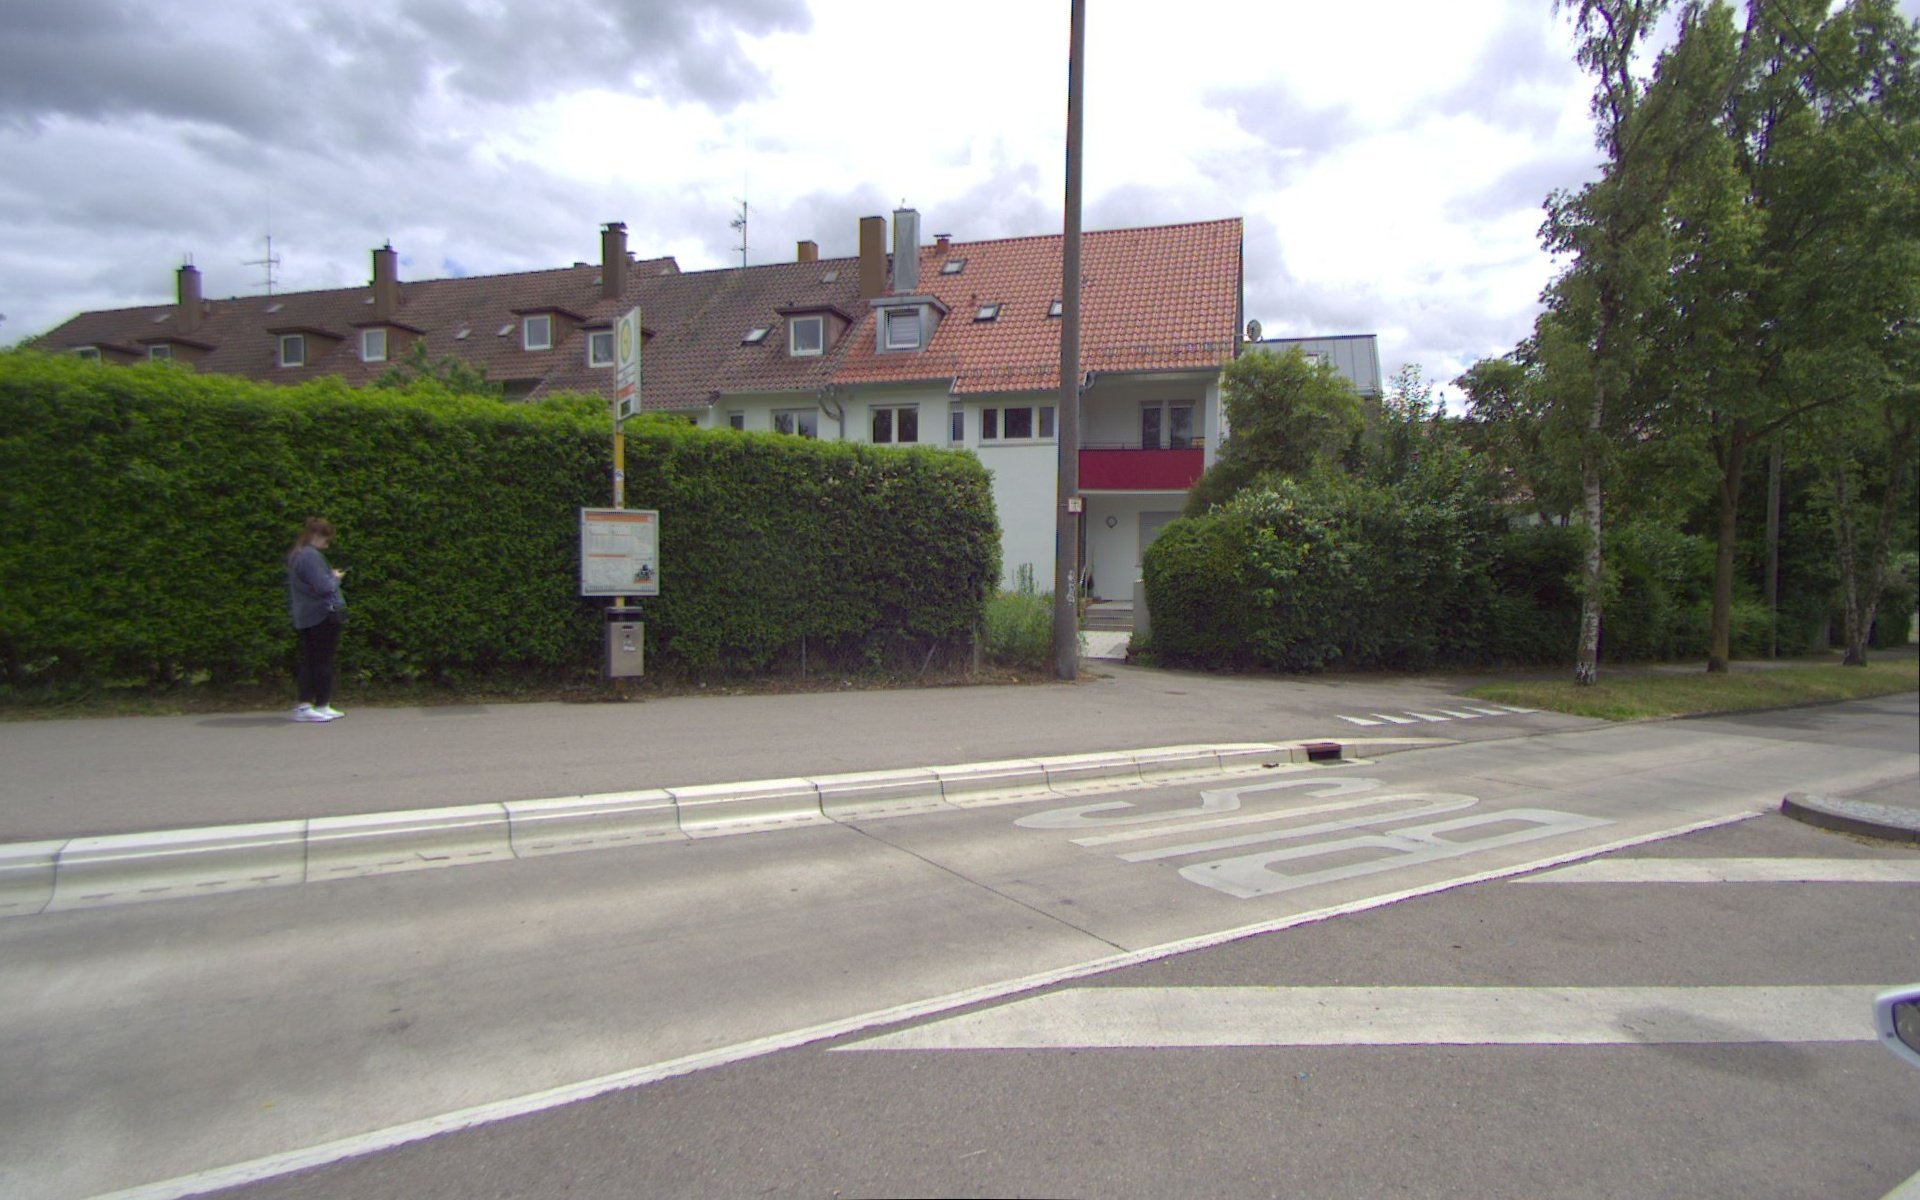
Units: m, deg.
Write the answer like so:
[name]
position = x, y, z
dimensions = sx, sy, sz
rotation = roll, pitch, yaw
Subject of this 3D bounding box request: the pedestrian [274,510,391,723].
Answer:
[pedestrian]
position = -5.433, 0.131, 8.691
dimensions = 0.771, 1.734, 0.686
rotation = 1, 1, -38
